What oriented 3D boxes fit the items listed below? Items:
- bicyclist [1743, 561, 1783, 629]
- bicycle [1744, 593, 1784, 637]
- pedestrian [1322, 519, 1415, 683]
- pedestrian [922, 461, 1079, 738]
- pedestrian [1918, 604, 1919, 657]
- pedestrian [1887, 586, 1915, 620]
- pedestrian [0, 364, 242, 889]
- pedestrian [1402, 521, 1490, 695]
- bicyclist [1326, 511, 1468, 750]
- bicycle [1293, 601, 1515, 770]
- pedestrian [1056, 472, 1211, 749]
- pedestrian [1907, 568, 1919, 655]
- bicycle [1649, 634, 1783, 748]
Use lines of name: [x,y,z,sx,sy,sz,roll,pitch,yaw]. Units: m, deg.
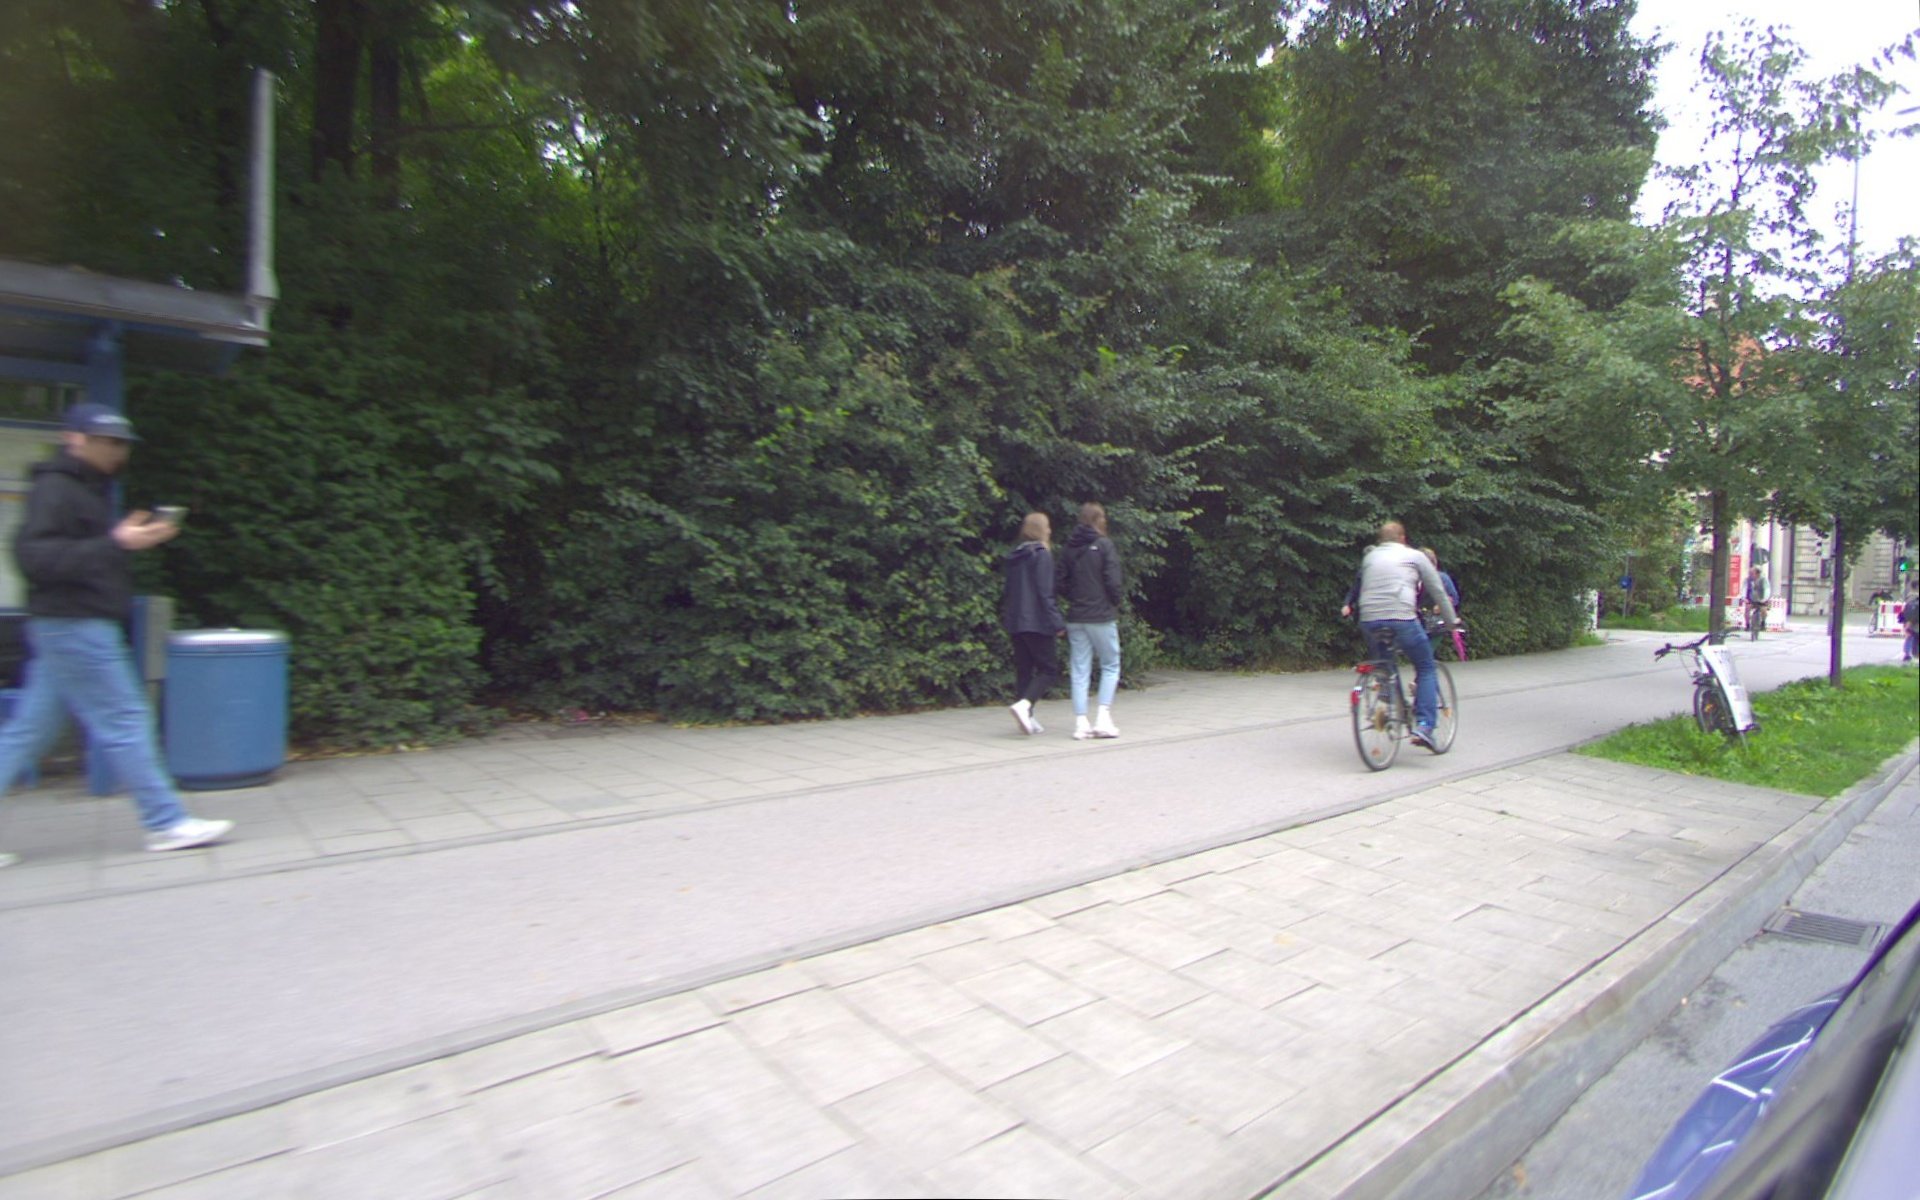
bicyclist: [20.261,-0.128,25.537,0.755,1.688,0.887,1,0,37]
bicycle: [20.241,0.361,25.493,0.736,1.071,2.133,1,0,38]
pedestrian: [4.862,0.006,12.061,0.743,1.862,0.752,1,0,-39]
pedestrian: [0.310,-0.008,7.680,0.939,1.939,0.709,1,0,-41]
pedestrian: [19.622,0.263,20.229,0.625,1.783,0.625,1,1,-45]
pedestrian: [50.489,0.175,54.305,1.063,1.787,0.763,1,0,40]
pedestrian: [-3.418,0.089,3.946,0.933,1.831,0.709,1,0,-41]
pedestrian: [5.435,0.083,11.321,0.629,1.862,0.672,1,0,-39]
bicyclist: [3.090,0.195,7.165,0.627,1.581,0.709,1,0,-41]
bicycle: [3.219,0.539,7.235,1.977,1.043,0.676,0,0,-41]
pedestrian: [1.317,0.068,7.656,0.939,1.939,0.709,1,0,-41]
pedestrian: [20.139,0.241,21.033,0.609,1.782,0.625,3,2,44]
bicycle: [6.295,0.710,8.391,1.856,0.804,0.494,0,0,-41]
